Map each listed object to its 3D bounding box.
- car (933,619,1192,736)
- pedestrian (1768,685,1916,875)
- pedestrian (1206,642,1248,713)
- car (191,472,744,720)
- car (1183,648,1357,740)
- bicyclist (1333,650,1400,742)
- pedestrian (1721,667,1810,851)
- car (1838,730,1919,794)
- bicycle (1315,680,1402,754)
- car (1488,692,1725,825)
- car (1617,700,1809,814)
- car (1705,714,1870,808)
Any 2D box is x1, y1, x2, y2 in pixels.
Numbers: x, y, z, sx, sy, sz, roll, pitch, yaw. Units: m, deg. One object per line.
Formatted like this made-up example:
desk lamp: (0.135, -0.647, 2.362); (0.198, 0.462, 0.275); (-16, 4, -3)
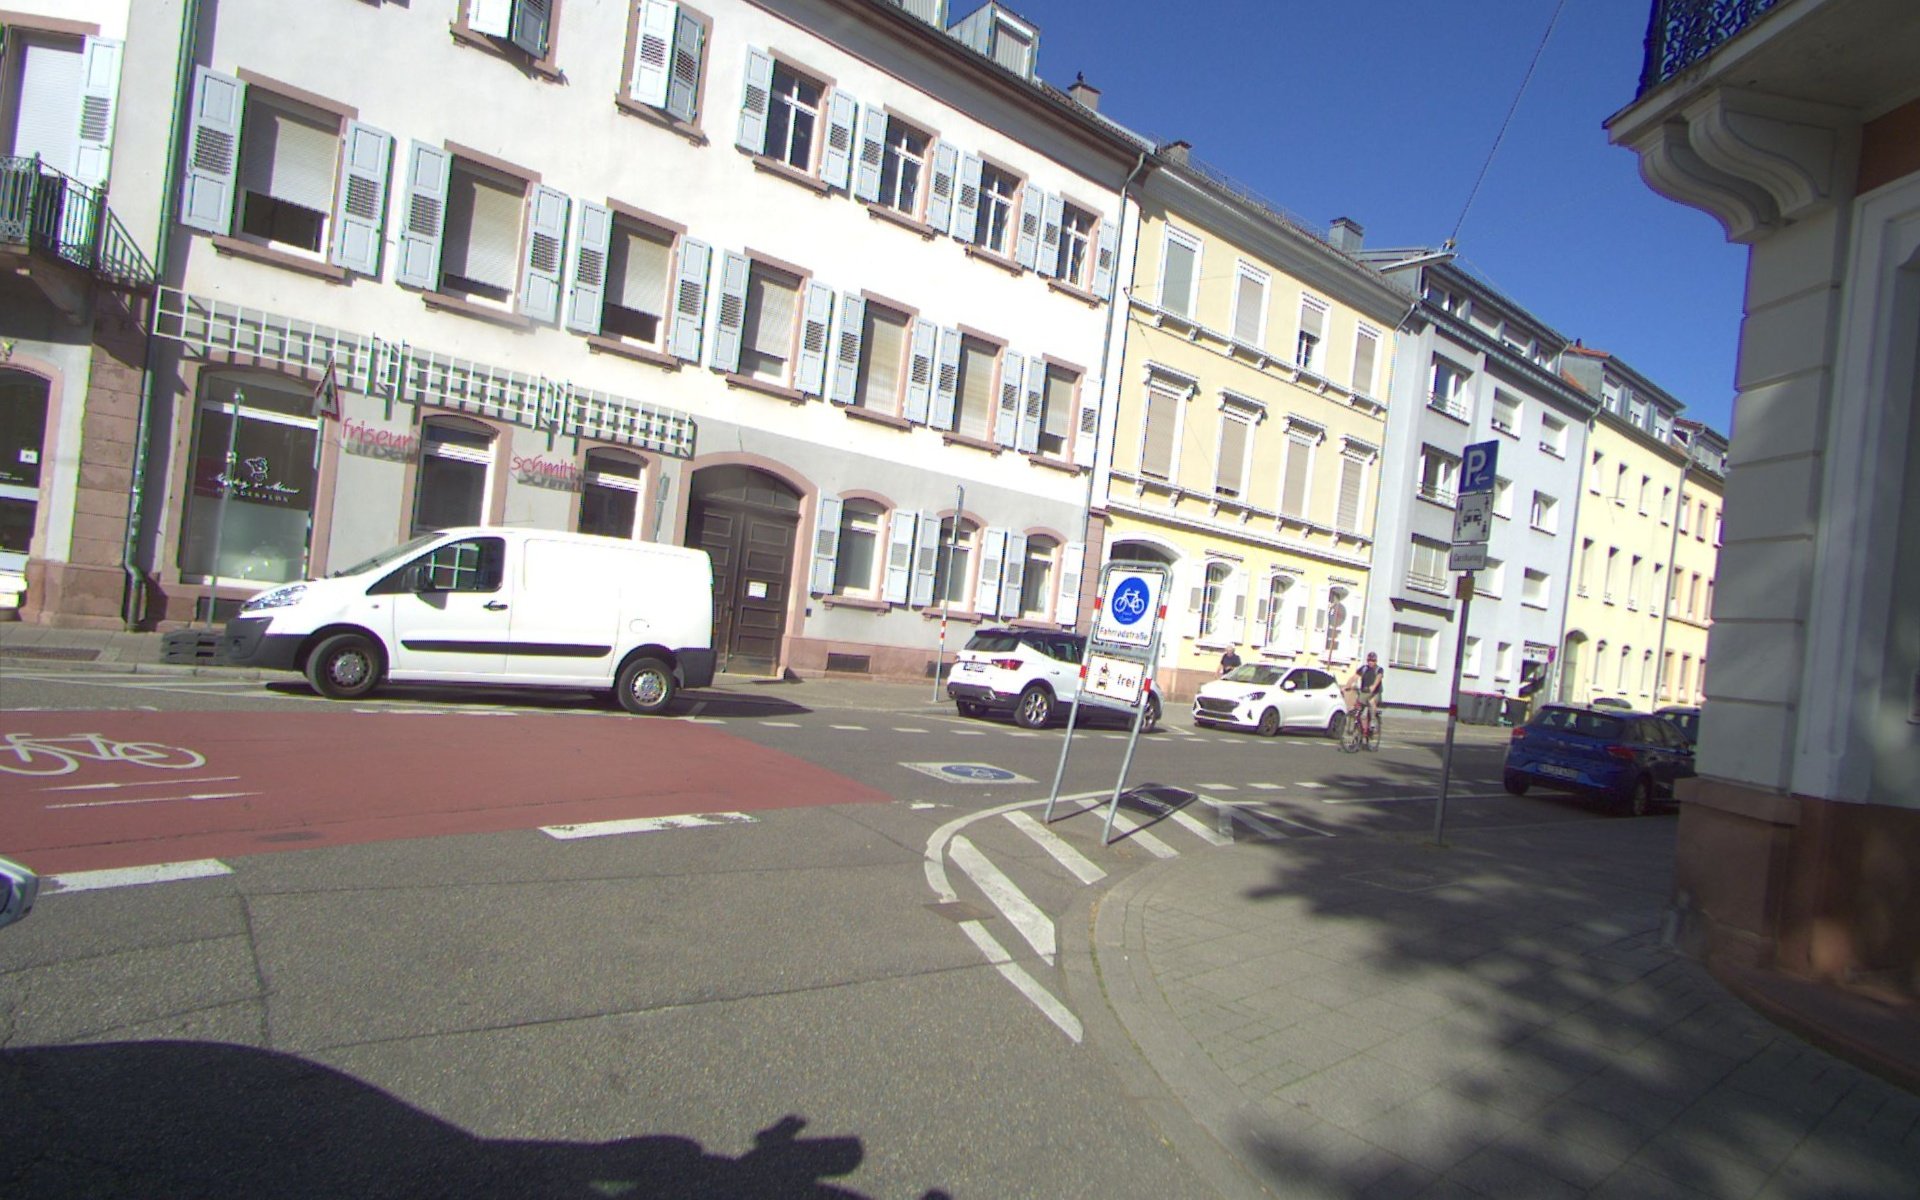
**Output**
car: (1.829, 1.343, 17.021); (4.347, 1.559, 1.630); (8, -3, -38)
pedestrian: (9.255, 1.861, 10.596); (0.815, 1.783, 0.753); (7, -3, 22)
pedestrian: (6.463, 1.879, 24.346); (0.634, 1.620, 0.578); (6, 0, -39)
car: (-5.197, 0.091, 11.091); (4.982, 1.969, 2.031); (8, -1, -36)
car: (6.532, 1.982, 21.056); (3.609, 1.559, 1.616); (8, -3, -38)
bicyclist: (7.415, 1.762, 18.355); (1.019, 1.565, 0.630); (7, -1, -44)
pedestrian: (8.709, 1.691, 10.899); (0.561, 1.878, 0.707); (2, -3, 23)
car: (27.270, 4.698, 29.365); (3.608, 1.452, 1.689); (6, 2, -38)
bicycle: (7.237, 2.133, 18.222); (1.914, 1.214, 0.664); (8, -1, -45)
car: (9.558, 2.276, 14.796); (3.608, 1.452, 1.689); (6, 2, -38)
car: (13.457, 2.749, 17.927); (3.608, 1.557, 1.689); (6, 2, -38)
car: (16.870, 3.235, 20.463); (3.608, 1.452, 1.689); (6, 2, -38)
